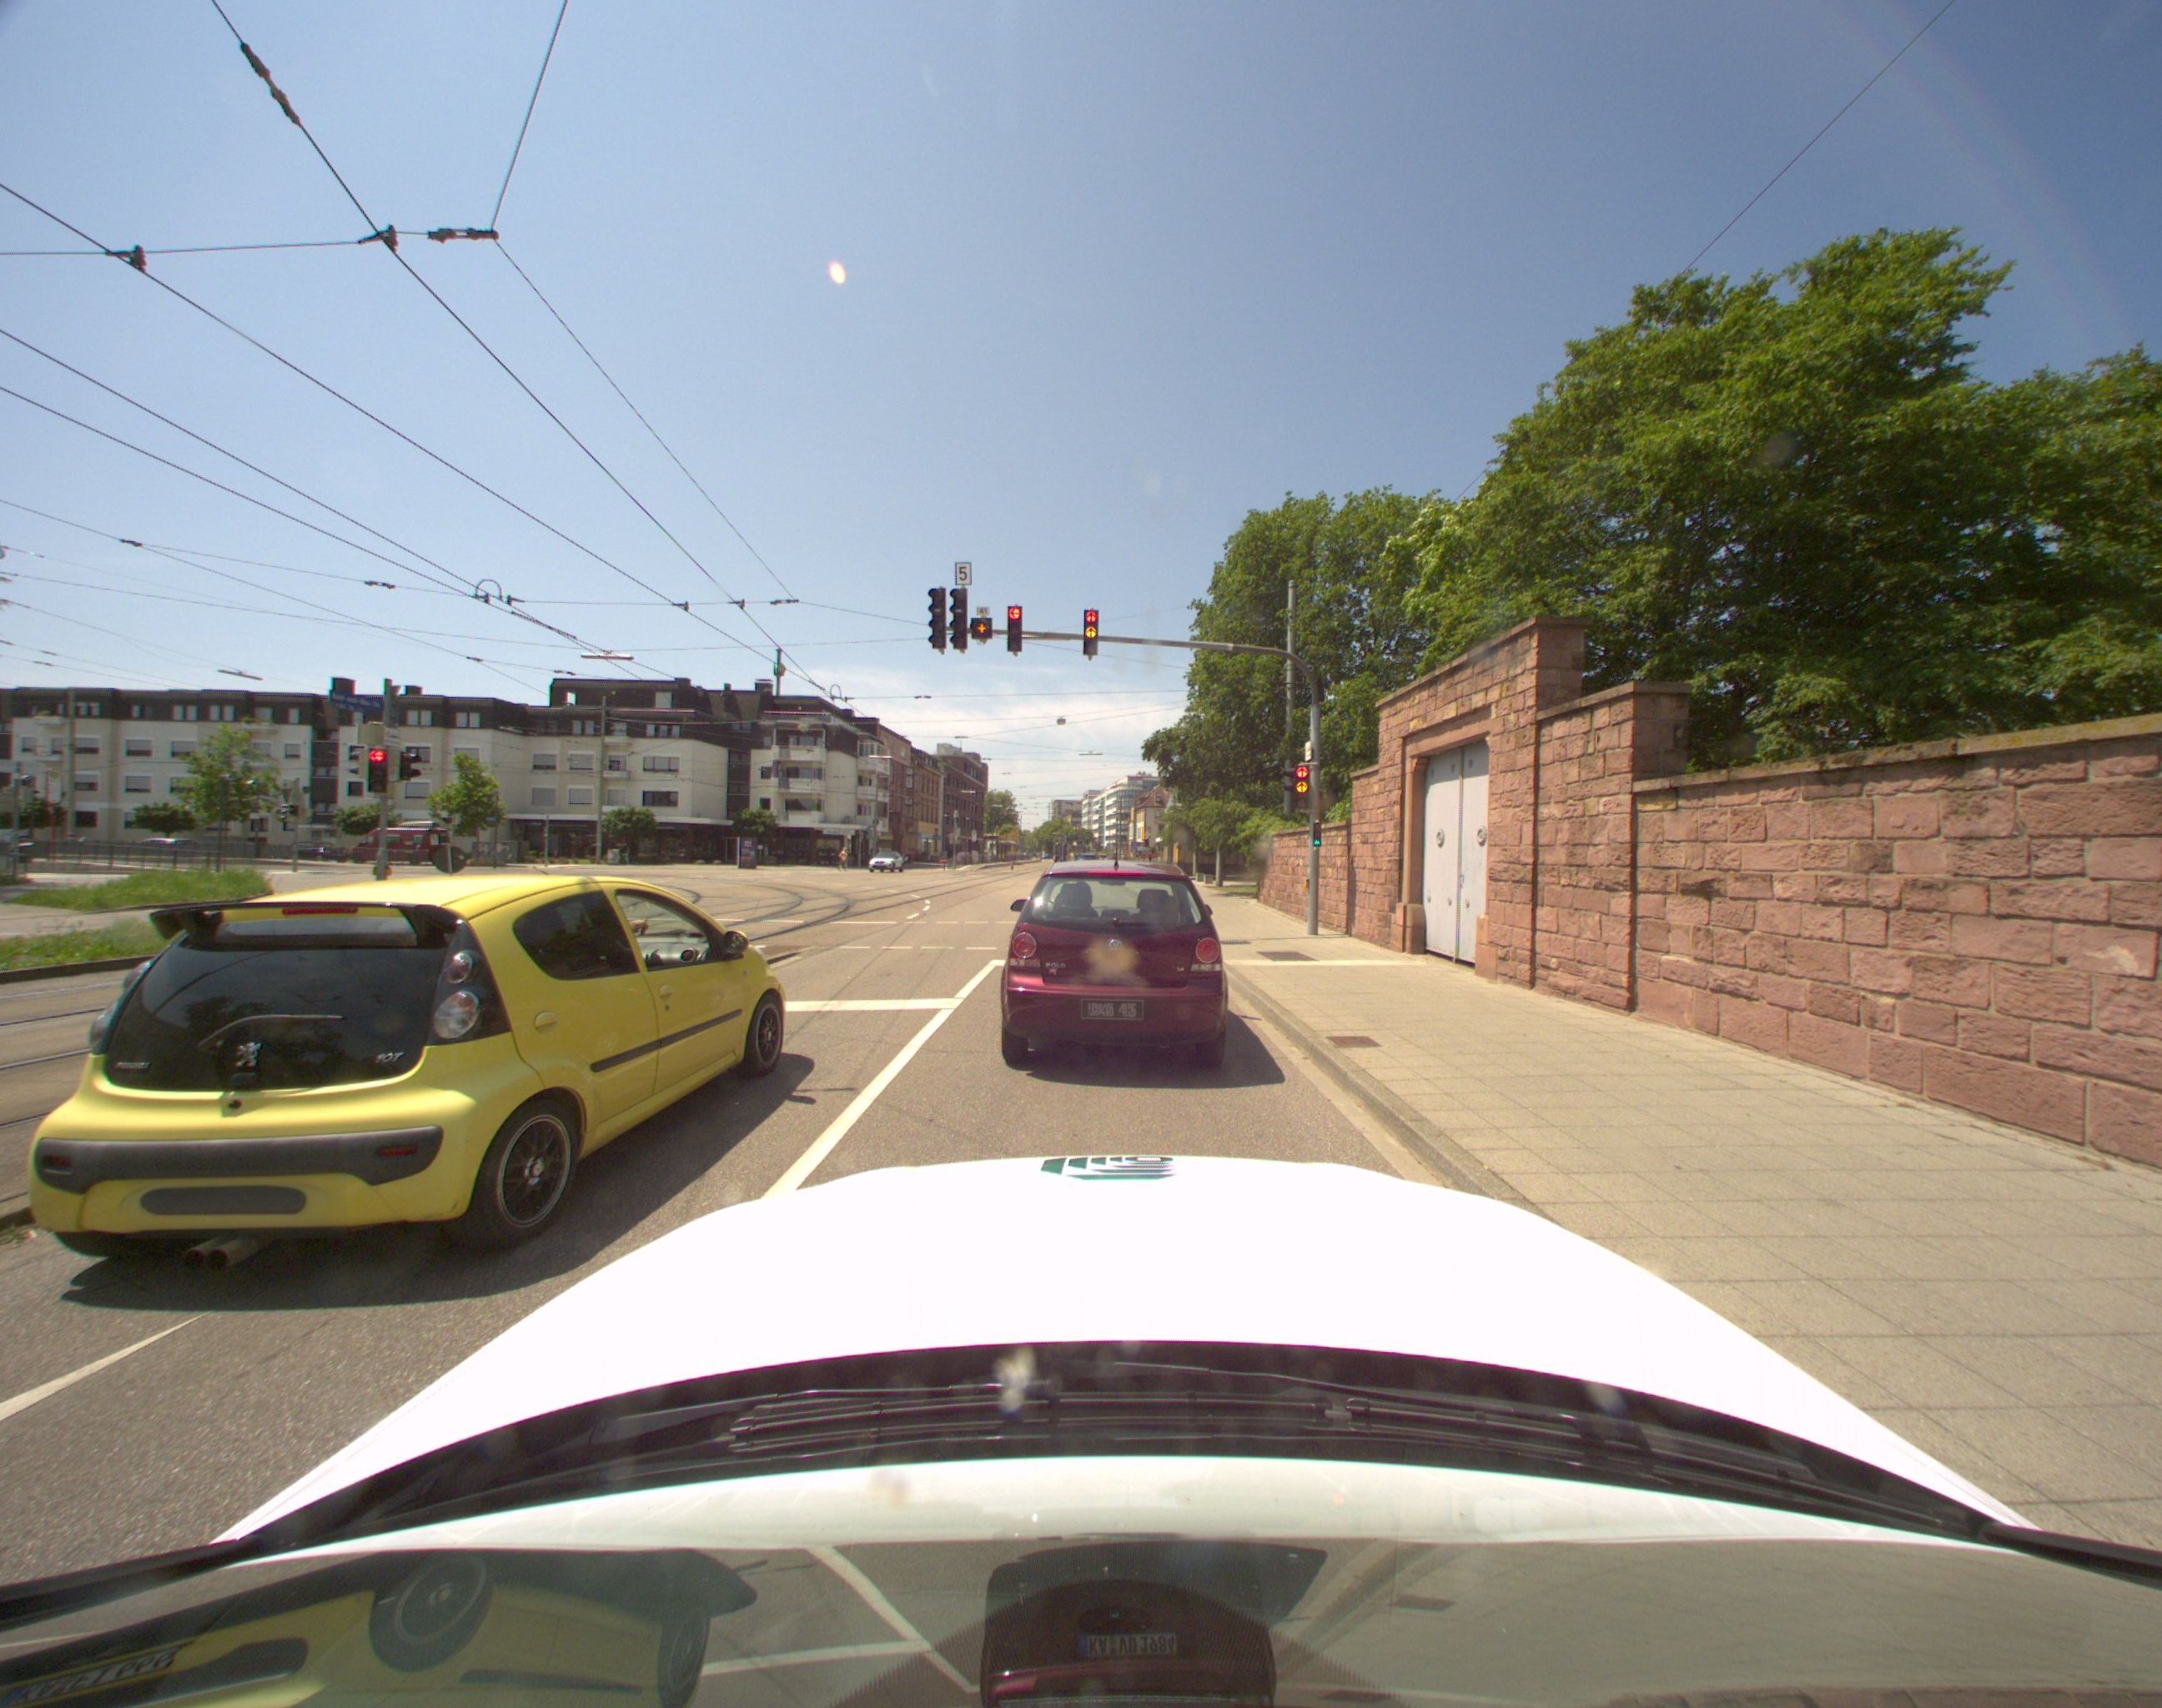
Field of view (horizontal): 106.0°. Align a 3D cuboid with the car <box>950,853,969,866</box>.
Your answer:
[{"bbox_3d":[-14.085,0.630,94.715,1.619,1.484,3.829,1,0,0],"label":"car"}]

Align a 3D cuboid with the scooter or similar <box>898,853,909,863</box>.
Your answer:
[{"bbox_3d":[-20.126,0.446,92.311,0.484,1.082,1.584,1,0,18],"label":"scooter or similar"}]

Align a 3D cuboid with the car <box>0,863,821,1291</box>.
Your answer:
[{"bbox_3d":[-2.914,0.789,4.645,1.610,1.421,3.656,-1,-1,1],"label":"car"}]

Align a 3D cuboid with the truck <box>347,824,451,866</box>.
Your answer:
[{"bbox_3d":[-45.283,-0.603,54.133,5.007,2.698,2.188,1,0,1],"label":"truck"}]

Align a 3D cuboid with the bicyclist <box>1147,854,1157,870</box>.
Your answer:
[{"bbox_3d":[7.208,0.798,82.687,0.829,1.618,0.860,-4,-1,1],"label":"bicyclist"}]

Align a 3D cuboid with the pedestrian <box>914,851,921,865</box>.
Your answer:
[{"bbox_3d":[-18.338,0.439,91.567,0.612,1.560,0.640,1,0,1],"label":"pedestrian"}]

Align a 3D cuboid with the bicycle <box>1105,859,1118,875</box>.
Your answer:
[{"bbox_3d":[2.397,1.021,63.044,0.372,1.197,1.915,1,0,22],"label":"bicycle"}]

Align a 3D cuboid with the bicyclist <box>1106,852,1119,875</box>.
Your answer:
[{"bbox_3d":[2.458,0.737,63.308,0.721,1.760,0.929,1,0,22],"label":"bicyclist"}]

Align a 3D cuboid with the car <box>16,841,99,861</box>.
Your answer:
[{"bbox_3d":[-67.831,-0.184,54.002,3.556,1.240,1.591,1,0,2],"label":"car"}]

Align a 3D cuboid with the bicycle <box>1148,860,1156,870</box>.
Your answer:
[{"bbox_3d":[7.201,1.111,82.637,0.666,1.002,1.864,-4,0,1],"label":"bicycle"}]

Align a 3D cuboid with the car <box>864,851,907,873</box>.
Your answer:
[{"bbox_3d":[-14.340,0.576,59.994,1.986,1.553,4.141,1,0,2],"label":"car"}]

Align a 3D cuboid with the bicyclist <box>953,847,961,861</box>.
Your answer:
[{"bbox_3d":[-15.719,-0.029,103.050,0.729,1.762,1.135,1,0,2],"label":"bicyclist"}]

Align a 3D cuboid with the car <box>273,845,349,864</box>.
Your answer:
[{"bbox_3d":[-51.385,0.018,54.408,3.556,1.219,1.591,1,0,2],"label":"car"}]

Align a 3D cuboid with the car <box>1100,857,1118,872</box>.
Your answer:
[{"bbox_3d":[2.930,1.081,85.743,1.816,1.530,4.002,1,0,2],"label":"car"}]

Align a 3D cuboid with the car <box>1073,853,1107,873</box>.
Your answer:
[{"bbox_3d":[0.792,0.735,67.562,1.980,1.624,4.646,1,0,12],"label":"car"}]

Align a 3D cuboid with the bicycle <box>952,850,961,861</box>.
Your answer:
[{"bbox_3d":[-15.732,0.219,103.024,0.674,1.304,2.106,1,0,2],"label":"bicycle"}]

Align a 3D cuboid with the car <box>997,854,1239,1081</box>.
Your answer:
[{"bbox_3d":[0.263,0.740,6.836,1.556,1.453,3.062,1,0,1],"label":"car"}]

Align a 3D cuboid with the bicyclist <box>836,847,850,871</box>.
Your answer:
[{"bbox_3d":[-18.226,0.361,62.323,0.692,1.765,1.137,1,1,1],"label":"bicyclist"}]

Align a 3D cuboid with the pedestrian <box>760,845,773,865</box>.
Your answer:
[{"bbox_3d":[-26.853,0.070,69.515,0.692,1.696,0.813,1,0,34],"label":"pedestrian"}]

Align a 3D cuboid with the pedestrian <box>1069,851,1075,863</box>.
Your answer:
[{"bbox_3d":[-1.185,0.427,109.667,0.760,1.674,1.101,1,0,2],"label":"pedestrian"}]

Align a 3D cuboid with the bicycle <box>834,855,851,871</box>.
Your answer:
[{"bbox_3d":[-18.239,0.667,62.409,0.692,1.149,1.932,1,1,1],"label":"bicycle"}]

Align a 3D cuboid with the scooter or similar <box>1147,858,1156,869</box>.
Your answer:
[{"bbox_3d":[7.270,0.992,84.219,0.340,1.178,1.457,1,0,-22],"label":"scooter or similar"}]

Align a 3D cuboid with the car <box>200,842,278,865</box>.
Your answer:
[{"bbox_3d":[-55.992,-0.046,54.209,3.556,1.433,1.591,1,0,2],"label":"car"}]

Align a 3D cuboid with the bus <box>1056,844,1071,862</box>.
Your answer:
[{"bbox_3d":[-2.980,-0.141,140.245,2.135,3.003,6.579,1,0,3],"label":"bus"}]
